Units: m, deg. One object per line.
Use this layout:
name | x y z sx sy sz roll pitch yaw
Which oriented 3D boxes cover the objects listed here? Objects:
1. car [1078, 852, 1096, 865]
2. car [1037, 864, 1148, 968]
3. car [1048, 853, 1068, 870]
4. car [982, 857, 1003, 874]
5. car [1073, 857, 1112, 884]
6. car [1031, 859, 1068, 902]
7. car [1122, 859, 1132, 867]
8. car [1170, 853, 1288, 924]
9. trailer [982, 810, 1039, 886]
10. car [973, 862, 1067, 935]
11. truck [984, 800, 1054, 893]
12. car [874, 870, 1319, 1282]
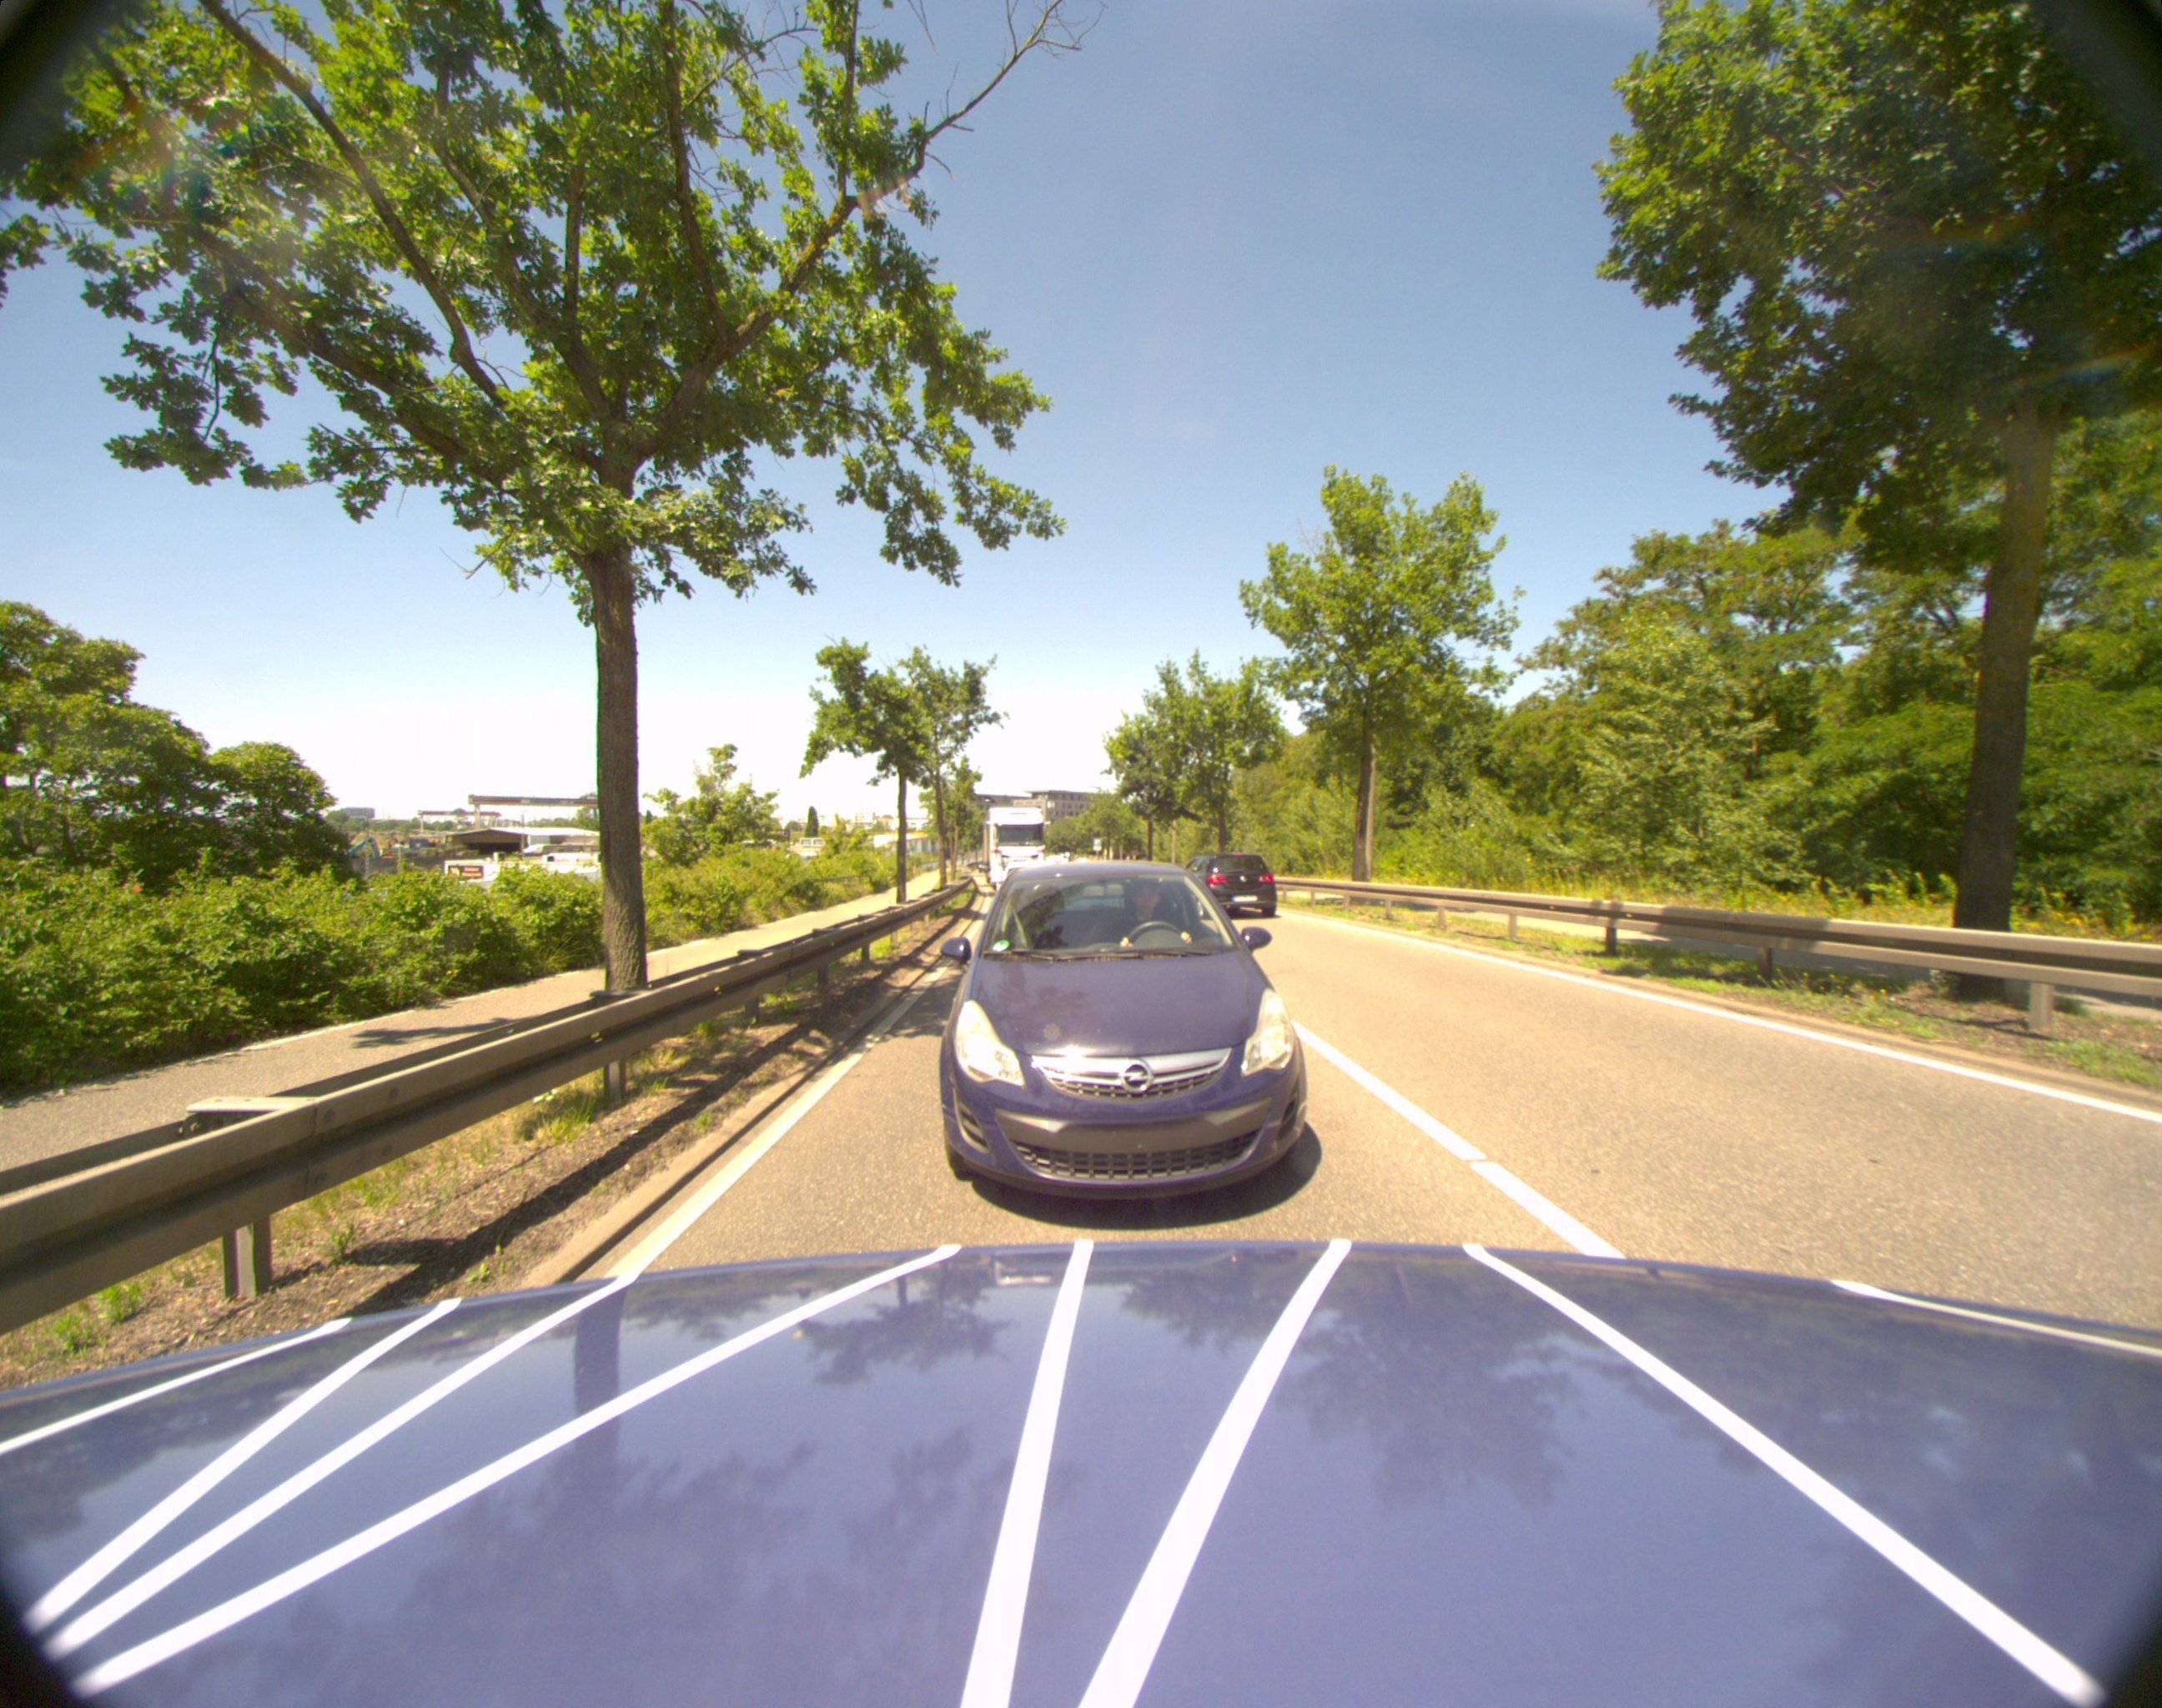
car | 0.710 0.479 87.184 1.703 1.406 3.960 -1 0 5
car | 0.146 0.929 13.153 1.569 1.408 4.122 -2 0 -1
car | -2.141 0.674 69.012 1.537 1.406 3.551 -1 0 -6
car | -9.187 1.160 78.748 1.976 1.567 3.998 -1 0 -4
car | 0.585 0.886 41.971 1.612 1.374 3.844 -1 0 -8
car | -1.129 0.921 27.596 1.250 1.376 3.103 -2 0 -2
car | 8.985 1.696 148.454 1.740 1.406 3.495 -1 0 5
car | 3.398 0.732 18.132 1.750 1.483 3.732 -1 0 -5
trailer | -4.825 -0.369 49.373 2.882 4.189 13.997 -1 0 -8
car | -1.316 0.955 17.824 1.816 1.420 3.715 -2 0 1
truck | -3.407 -0.368 39.476 2.859 4.244 8.808 -2 0 -9
car | 0.089 0.917 5.156 1.698 1.459 4.383 -2 0 1
